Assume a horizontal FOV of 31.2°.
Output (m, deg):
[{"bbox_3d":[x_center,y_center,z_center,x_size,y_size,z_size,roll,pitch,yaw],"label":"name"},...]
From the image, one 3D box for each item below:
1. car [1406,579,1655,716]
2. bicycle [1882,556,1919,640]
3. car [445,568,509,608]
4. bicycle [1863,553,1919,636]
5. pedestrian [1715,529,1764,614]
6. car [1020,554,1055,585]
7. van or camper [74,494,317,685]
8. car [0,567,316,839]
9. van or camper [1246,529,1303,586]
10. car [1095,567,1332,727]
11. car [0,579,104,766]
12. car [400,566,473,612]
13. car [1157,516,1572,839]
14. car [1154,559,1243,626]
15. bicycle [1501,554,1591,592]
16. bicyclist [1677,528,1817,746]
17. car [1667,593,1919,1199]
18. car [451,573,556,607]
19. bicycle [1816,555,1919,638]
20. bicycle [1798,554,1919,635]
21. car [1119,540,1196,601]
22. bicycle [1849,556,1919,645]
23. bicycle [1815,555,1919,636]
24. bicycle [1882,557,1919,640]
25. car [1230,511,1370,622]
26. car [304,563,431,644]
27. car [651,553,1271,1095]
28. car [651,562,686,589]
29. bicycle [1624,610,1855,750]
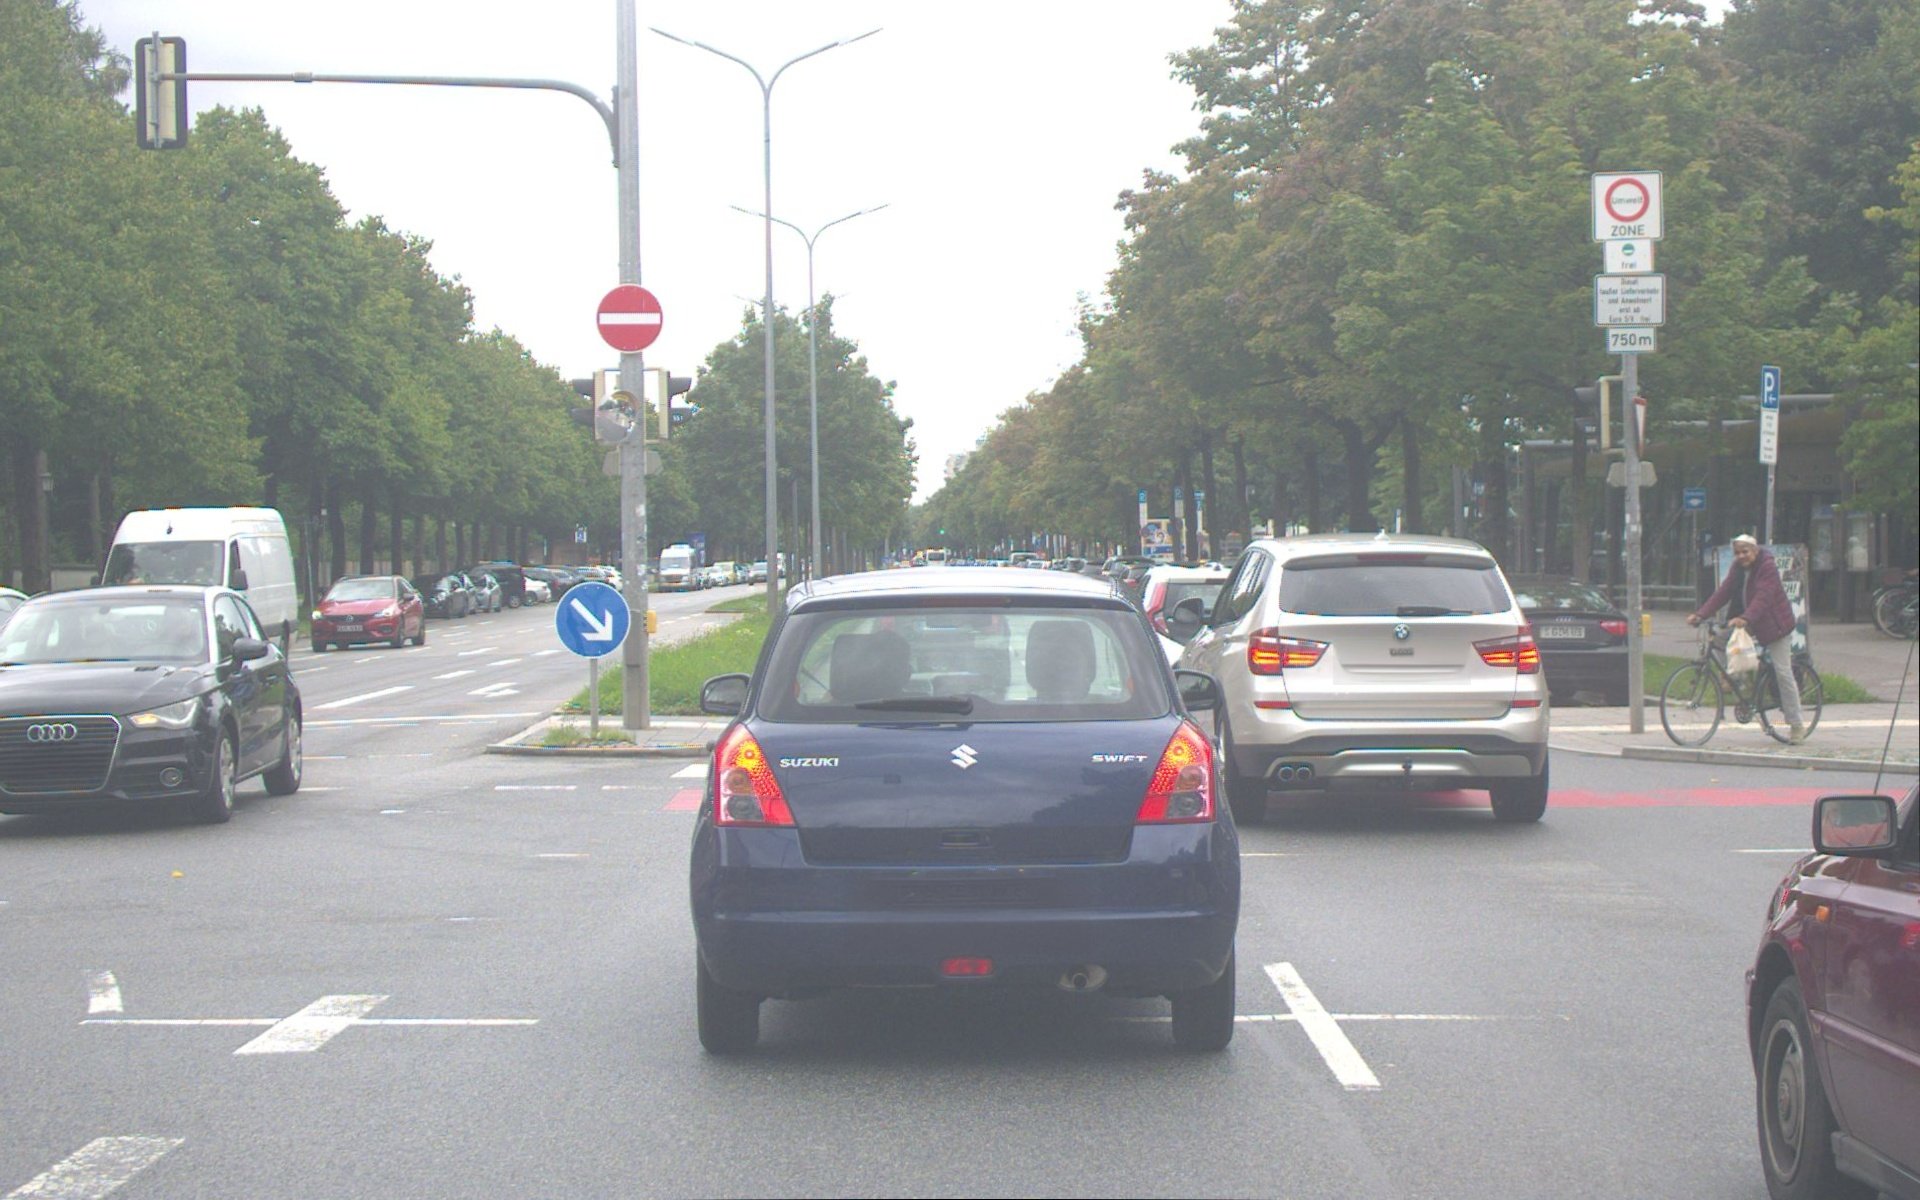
[{"bbox_3d":[6.042,0.462,36.920,1.710,1.356,4.622,0,1,-3],"label":"car"},{"bbox_3d":[14.316,-0.077,48.639,2.338,1.153,0.529,-3,1,-1],"label":"bicycle"},{"bbox_3d":[-17.867,-0.450,127.354,1.636,1.434,4.809,1,1,0],"label":"car"},{"bbox_3d":[14.323,-0.123,49.739,2.338,1.153,0.529,-3,1,-1],"label":"bicycle"},{"bbox_3d":[13.975,-0.515,61.640,0.578,1.508,0.694,-1,1,-19],"label":"pedestrian"},{"bbox_3d":[3.940,-1.557,174.778,1.684,1.520,4.456,1,1,0],"label":"car"},{"bbox_3d":[-11.602,-0.207,52.719,2.178,2.638,6.951,-3,1,-1],"label":"van or camper"},{"bbox_3d":[-5.068,0.559,20.979,1.639,1.482,3.781,-1,1,-2],"label":"car"},{"bbox_3d":[14.500,-1.956,158.796,2.024,2.549,5.957,-1,1,0],"label":"van or camper"},{"bbox_3d":[2.408,0.412,33.636,1.850,1.442,4.098,-1,1,-2],"label":"car"},{"bbox_3d":[-8.590,0.596,28.607,1.727,1.482,4.743,-1,1,0],"label":"car"},{"bbox_3d":[-17.536,-0.386,115.263,1.571,1.498,4.303,1,1,3],"label":"car"},{"bbox_3d":[2.319,0.395,20.744,1.850,1.737,4.098,-1,1,-2],"label":"car"},{"bbox_3d":[5.558,-0.204,80.405,1.717,1.503,4.224,-1,1,-1],"label":"car"},{"bbox_3d":[17.300,-0.800,101.479,2.542,1.085,0.647,-1,1,0],"label":"bicycle"},{"bbox_3d":[6.474,0.294,28.282,0.825,1.758,0.746,-1,1,-36],"label":"bicyclist"},{"bbox_3d":[2.592,0.729,6.455,1.622,1.449,3.950,-1,1,-1],"label":"car"},{"bbox_3d":[-19.152,-0.425,144.280,3.987,1.349,1.850,-1,1,-35],"label":"car"},{"bbox_3d":[14.254,-0.075,52.236,2.338,1.153,0.529,-3,1,-9],"label":"bicycle"},{"bbox_3d":[14.473,-0.100,54.173,2.338,1.153,0.529,-3,1,-1],"label":"bicycle"},{"bbox_3d":[5.622,-0.848,98.263,1.786,1.669,4.596,-1,1,-1],"label":"car"},{"bbox_3d":[13.365,-0.030,46.754,2.338,1.153,0.585,-3,1,-1],"label":"bicycle"},{"bbox_3d":[14.480,-0.086,53.151,2.338,1.153,0.529,-3,1,-1],"label":"bicycle"},{"bbox_3d":[14.451,-0.077,49.191,2.338,1.153,0.529,-3,1,-1],"label":"bicycle"},{"bbox_3d":[5.495,-0.569,56.061,1.747,1.718,4.906,0,1,0],"label":"car"},{"bbox_3d":[-11.844,0.047,68.939,1.743,1.447,4.658,-3,1,-1],"label":"car"},{"bbox_3d":[-0.074,0.624,11.995,1.789,1.550,4.000,-1,1,-2],"label":"car"},{"bbox_3d":[-17.524,-1.488,206.750,1.913,1.537,4.188,-1,1,-2],"label":"car"},{"bbox_3d":[6.412,0.639,28.242,1.941,1.077,0.748,-1,1,-36],"label":"bicycle"}]
